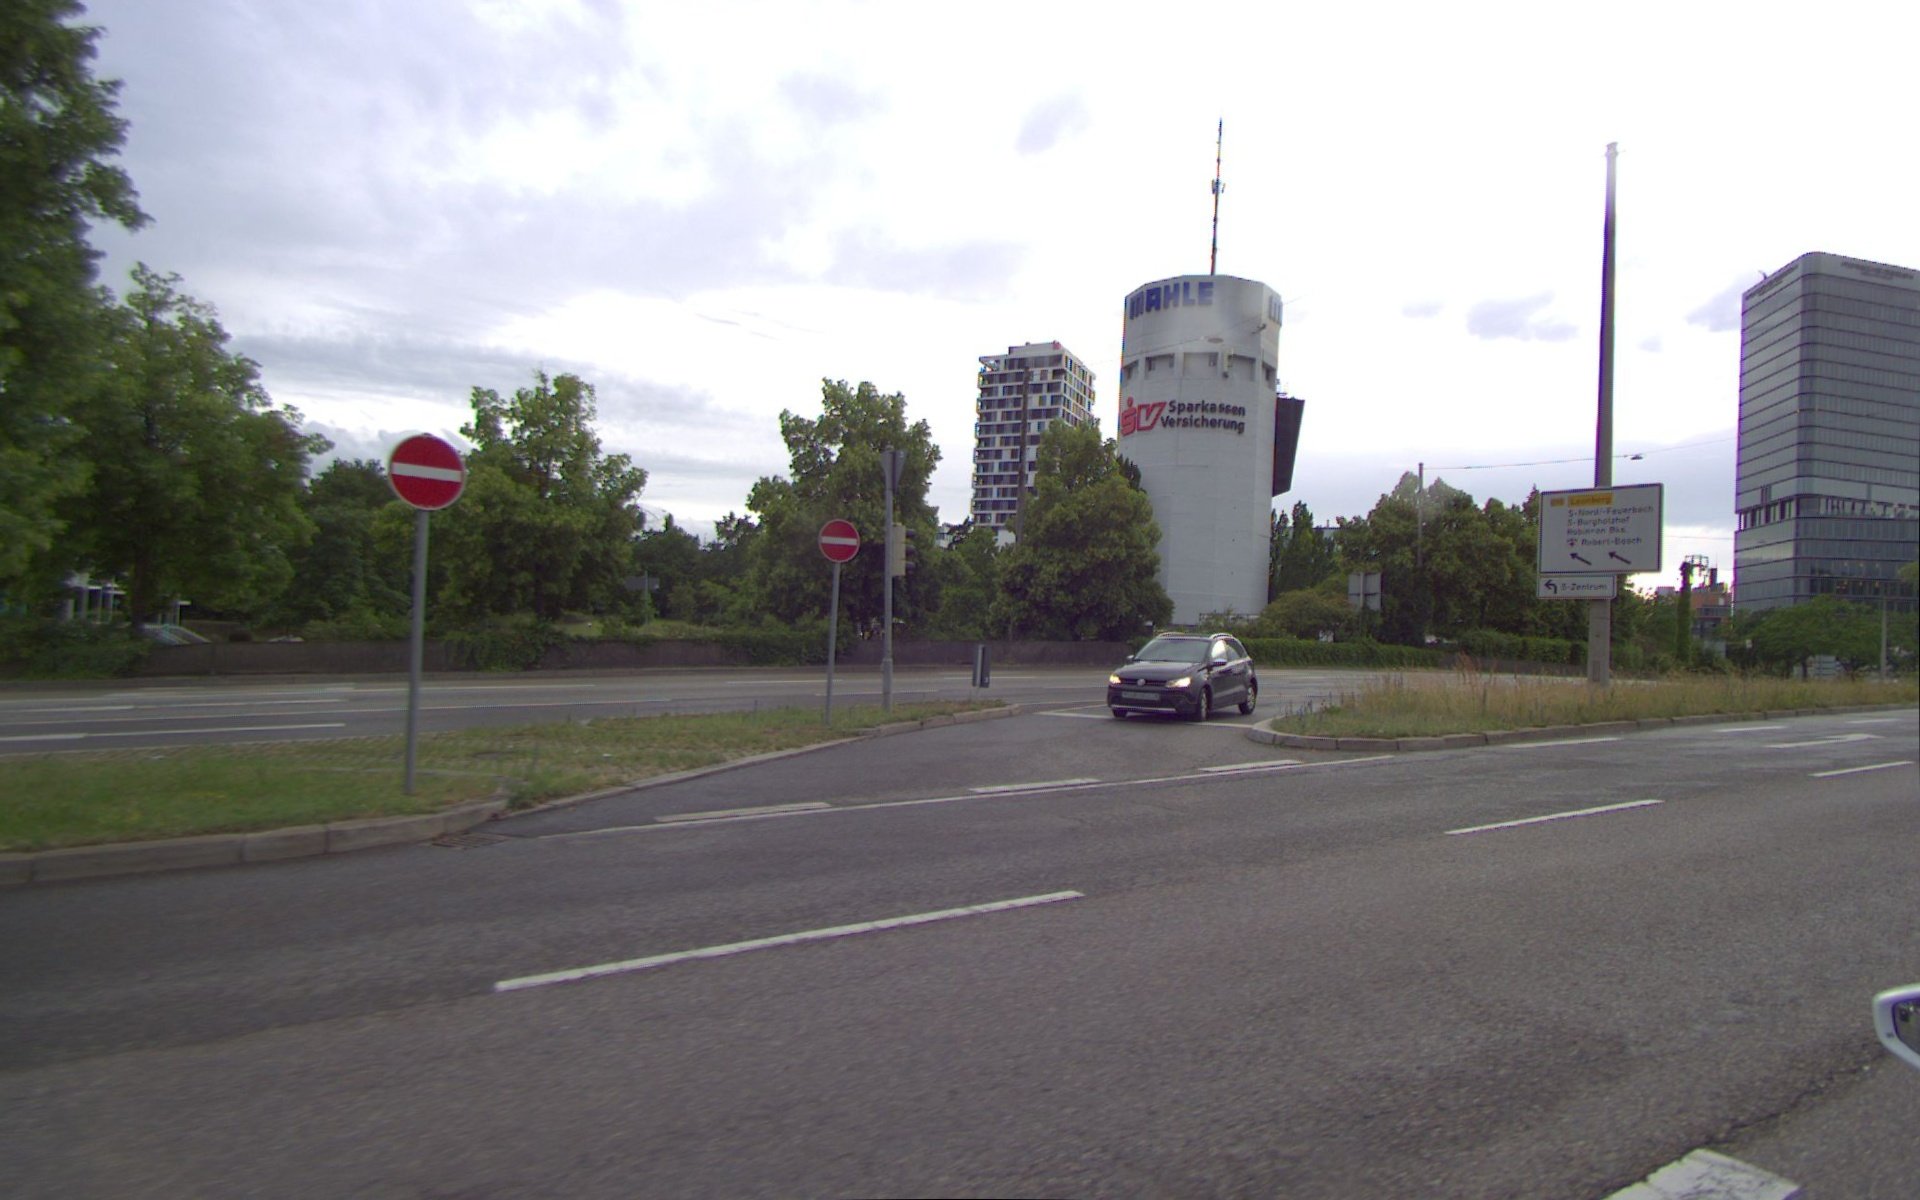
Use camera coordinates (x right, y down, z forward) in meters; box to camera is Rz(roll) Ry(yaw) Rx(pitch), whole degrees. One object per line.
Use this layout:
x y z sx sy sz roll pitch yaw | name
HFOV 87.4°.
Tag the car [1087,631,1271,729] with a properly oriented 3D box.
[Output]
4.007 1.335 17.899 1.864 1.527 3.988 -1 -2 34 | car
